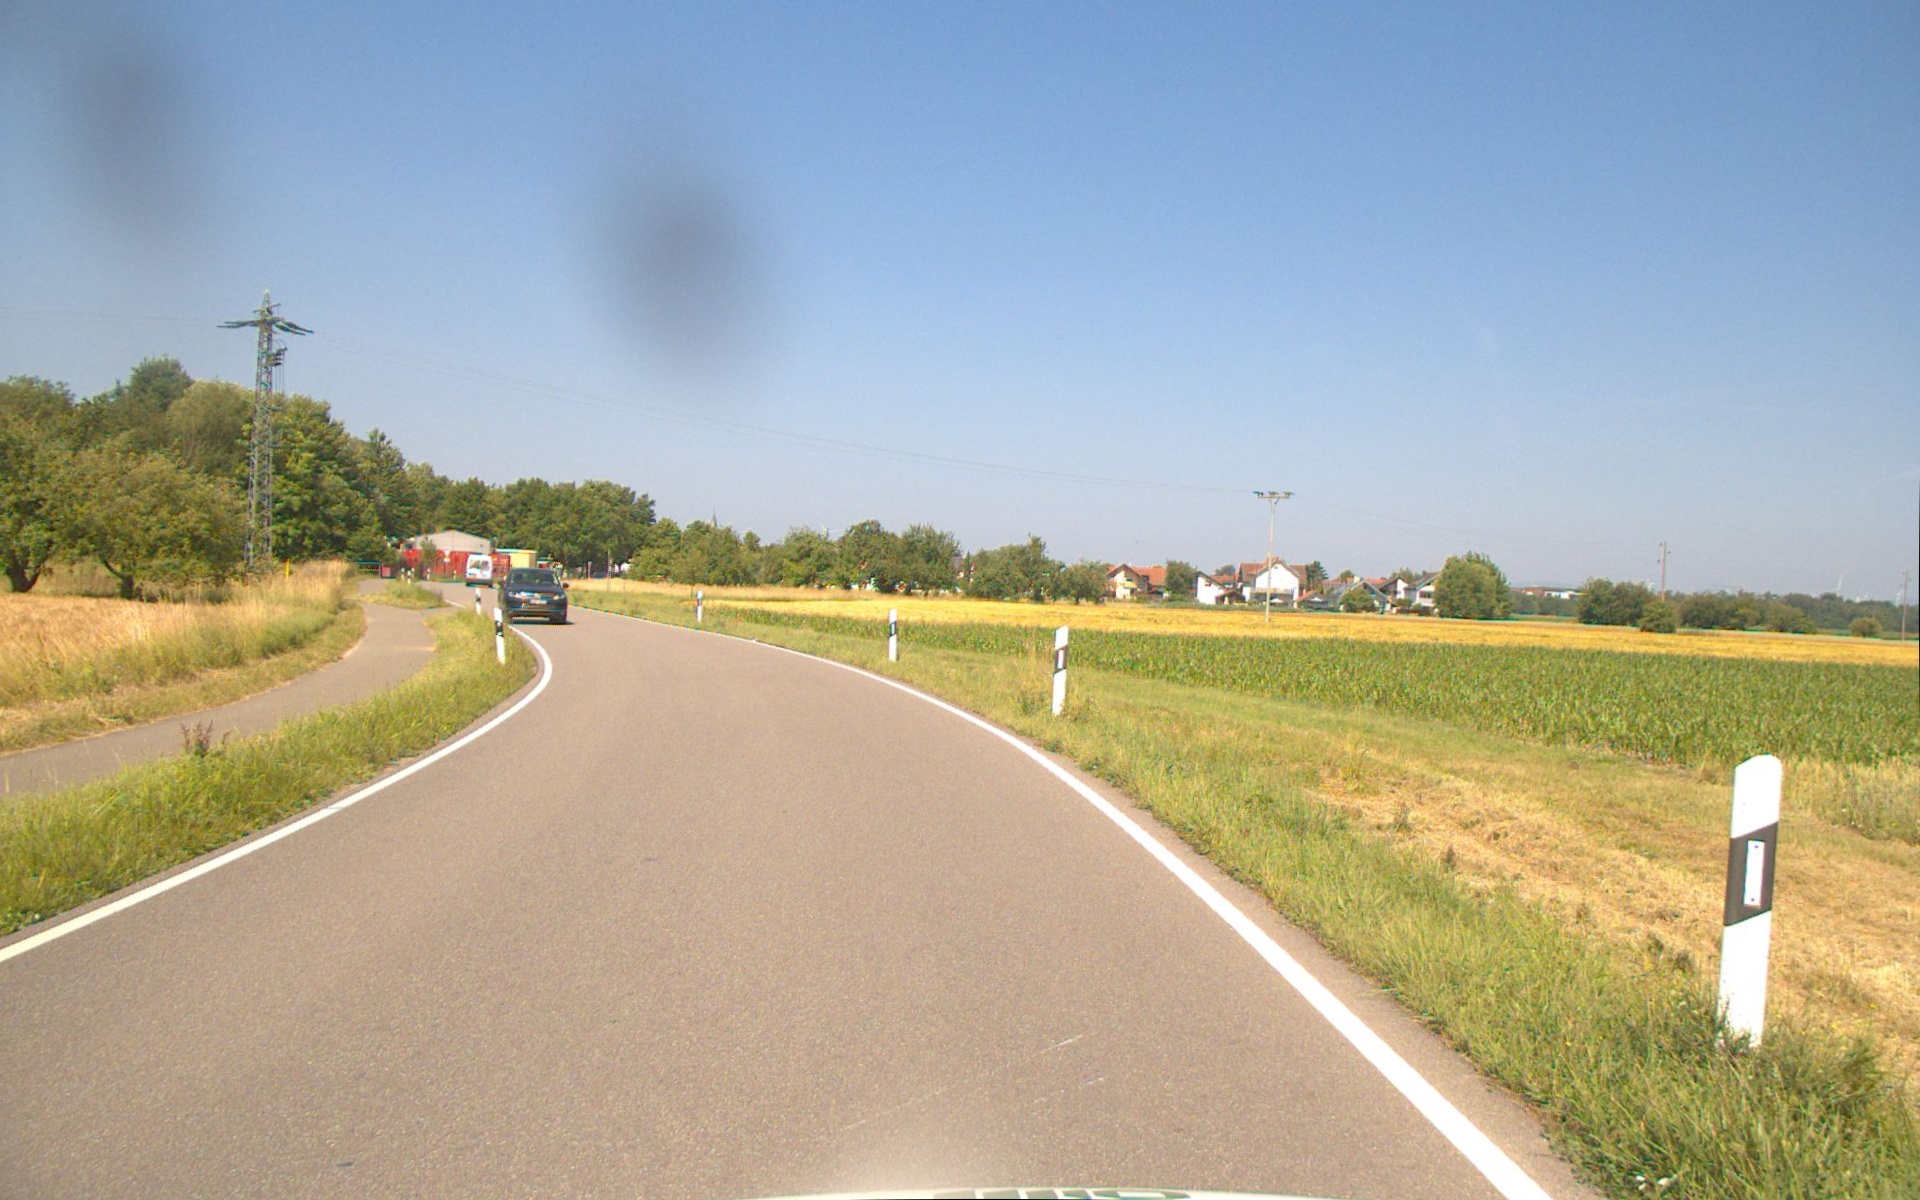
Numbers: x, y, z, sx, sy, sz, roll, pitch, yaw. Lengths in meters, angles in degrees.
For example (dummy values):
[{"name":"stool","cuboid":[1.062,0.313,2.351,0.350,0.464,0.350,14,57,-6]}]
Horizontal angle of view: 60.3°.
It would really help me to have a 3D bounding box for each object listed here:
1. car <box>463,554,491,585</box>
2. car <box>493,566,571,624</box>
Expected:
[{"name":"car","cuboid":[-38.439,-2.436,131.523,1.963,2.305,4.702,2,0,-18]},{"name":"car","cuboid":[-13.571,-0.181,52.328,1.861,1.744,3.987,1,1,-22]}]
